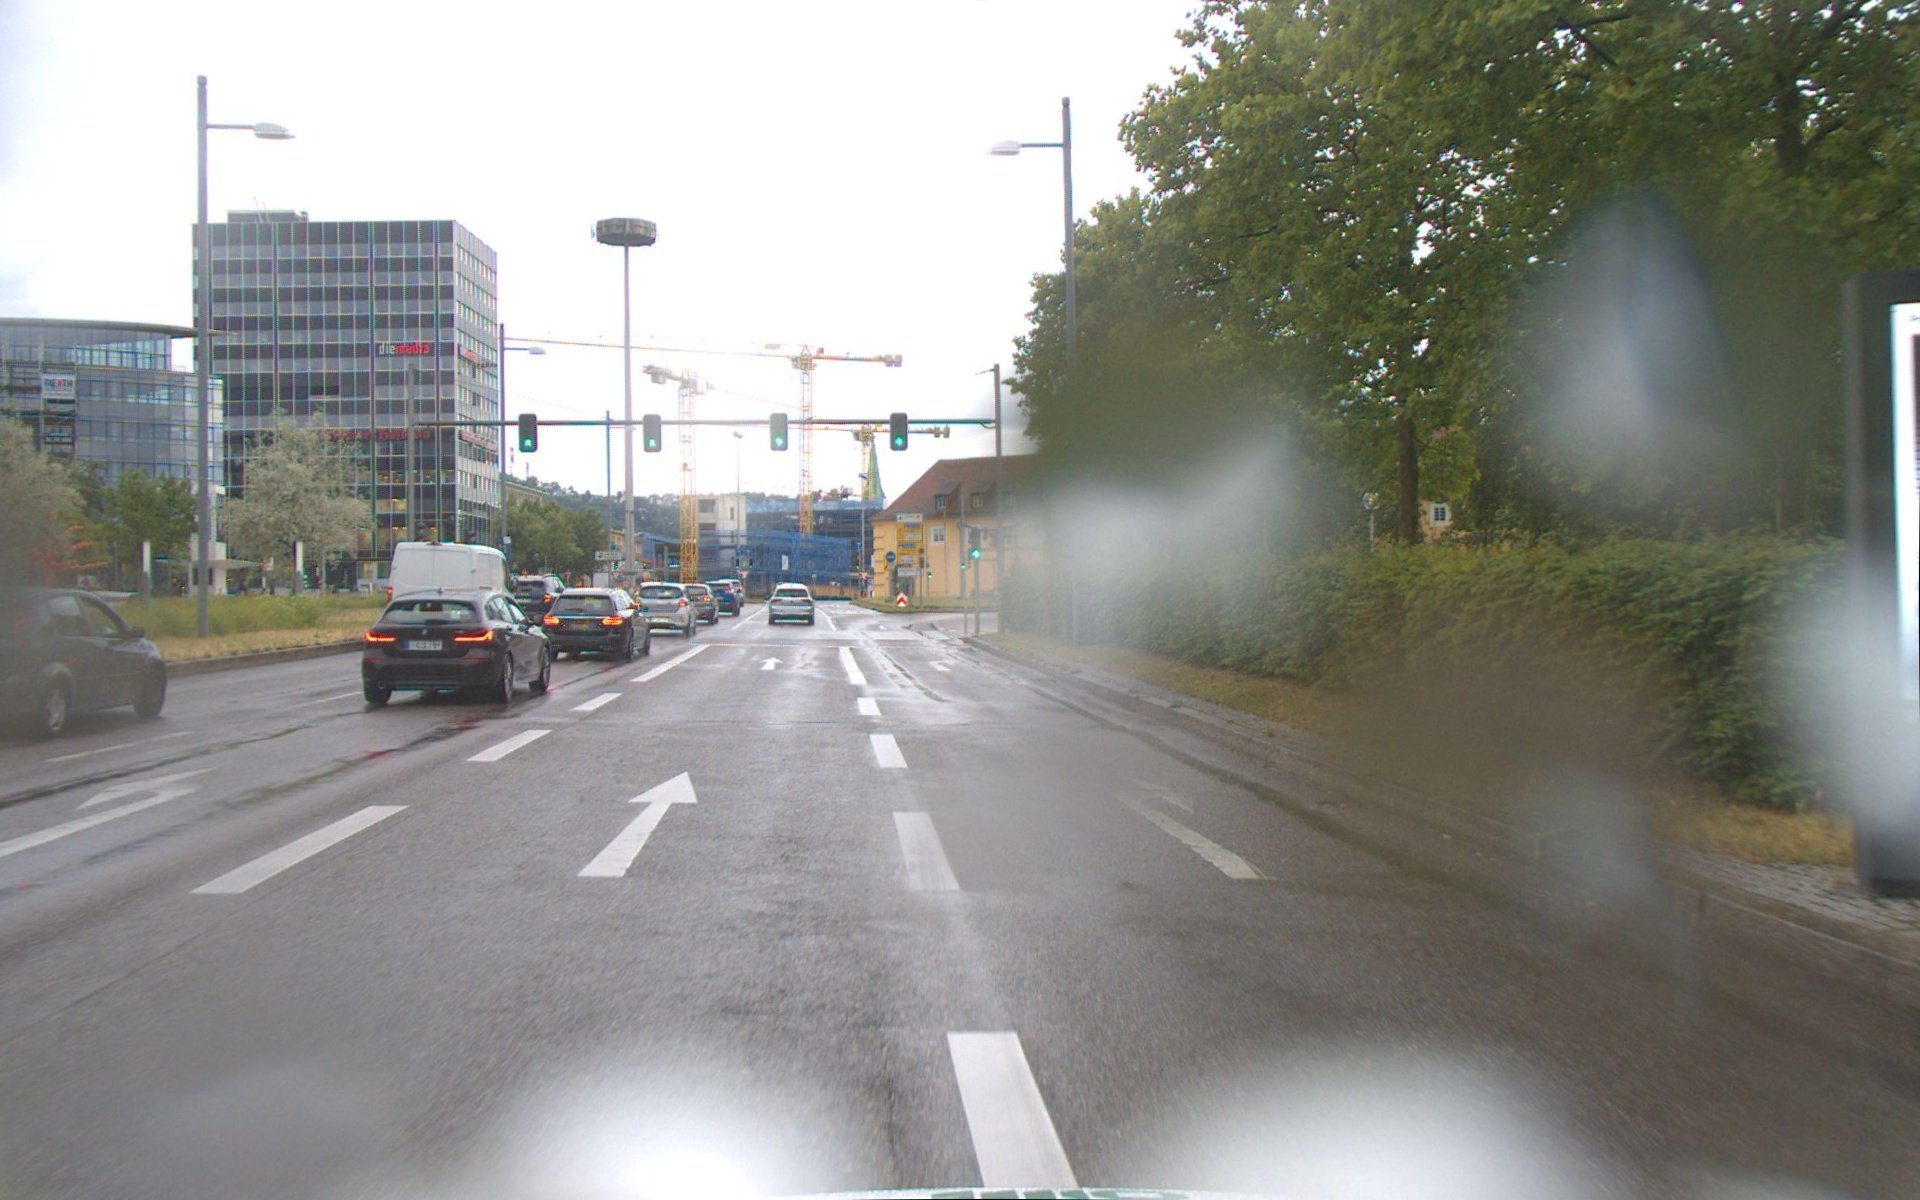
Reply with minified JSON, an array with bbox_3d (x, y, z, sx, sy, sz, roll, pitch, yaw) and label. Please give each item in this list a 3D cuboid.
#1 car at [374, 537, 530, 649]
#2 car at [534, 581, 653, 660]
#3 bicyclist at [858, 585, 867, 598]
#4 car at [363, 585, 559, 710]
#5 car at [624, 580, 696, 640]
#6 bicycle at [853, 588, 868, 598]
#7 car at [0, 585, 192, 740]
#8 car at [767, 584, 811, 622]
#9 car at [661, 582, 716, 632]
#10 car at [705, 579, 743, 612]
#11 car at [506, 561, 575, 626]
[{"bbox_3d":[-11.350,-0.104,37.371,2.247,2.355,5.001,0,-1,-4],"label":"car"},{"bbox_3d":[-7.463,0.426,33.966,1.793,1.521,3.397,0,-1,-3],"label":"car"},{"bbox_3d":[-9.502,-0.826,161.106,0.693,1.298,0.631,1,-1,-20],"label":"bicyclist"},{"bbox_3d":[-6.612,0.566,22.340,1.719,1.497,4.218,0,1,-6],"label":"car"},{"bbox_3d":[-8.713,0.314,48.280,1.845,1.682,3.452,1,-1,-7],"label":"car"},{"bbox_3d":[-9.709,-0.680,161.458,0.867,1.027,1.981,1,-1,-20],"label":"bicycle"},{"bbox_3d":[-9.557,0.599,17.268,1.512,1.440,3.897,0,-1,-5],"label":"car"},{"bbox_3d":[-6.398,0.132,62.037,1.415,1.383,2.411,0,-1,-2],"label":"car"},{"bbox_3d":[-9.862,0.271,60.288,1.682,1.758,3.491,0,-1,-5],"label":"car"},{"bbox_3d":[-10.479,-0.204,73.490,1.464,1.393,3.030,0,-1,-5],"label":"car"},{"bbox_3d":[-11.783,-0.149,46.612,1.436,1.736,3.137,1,-1,-6],"label":"car"}]
